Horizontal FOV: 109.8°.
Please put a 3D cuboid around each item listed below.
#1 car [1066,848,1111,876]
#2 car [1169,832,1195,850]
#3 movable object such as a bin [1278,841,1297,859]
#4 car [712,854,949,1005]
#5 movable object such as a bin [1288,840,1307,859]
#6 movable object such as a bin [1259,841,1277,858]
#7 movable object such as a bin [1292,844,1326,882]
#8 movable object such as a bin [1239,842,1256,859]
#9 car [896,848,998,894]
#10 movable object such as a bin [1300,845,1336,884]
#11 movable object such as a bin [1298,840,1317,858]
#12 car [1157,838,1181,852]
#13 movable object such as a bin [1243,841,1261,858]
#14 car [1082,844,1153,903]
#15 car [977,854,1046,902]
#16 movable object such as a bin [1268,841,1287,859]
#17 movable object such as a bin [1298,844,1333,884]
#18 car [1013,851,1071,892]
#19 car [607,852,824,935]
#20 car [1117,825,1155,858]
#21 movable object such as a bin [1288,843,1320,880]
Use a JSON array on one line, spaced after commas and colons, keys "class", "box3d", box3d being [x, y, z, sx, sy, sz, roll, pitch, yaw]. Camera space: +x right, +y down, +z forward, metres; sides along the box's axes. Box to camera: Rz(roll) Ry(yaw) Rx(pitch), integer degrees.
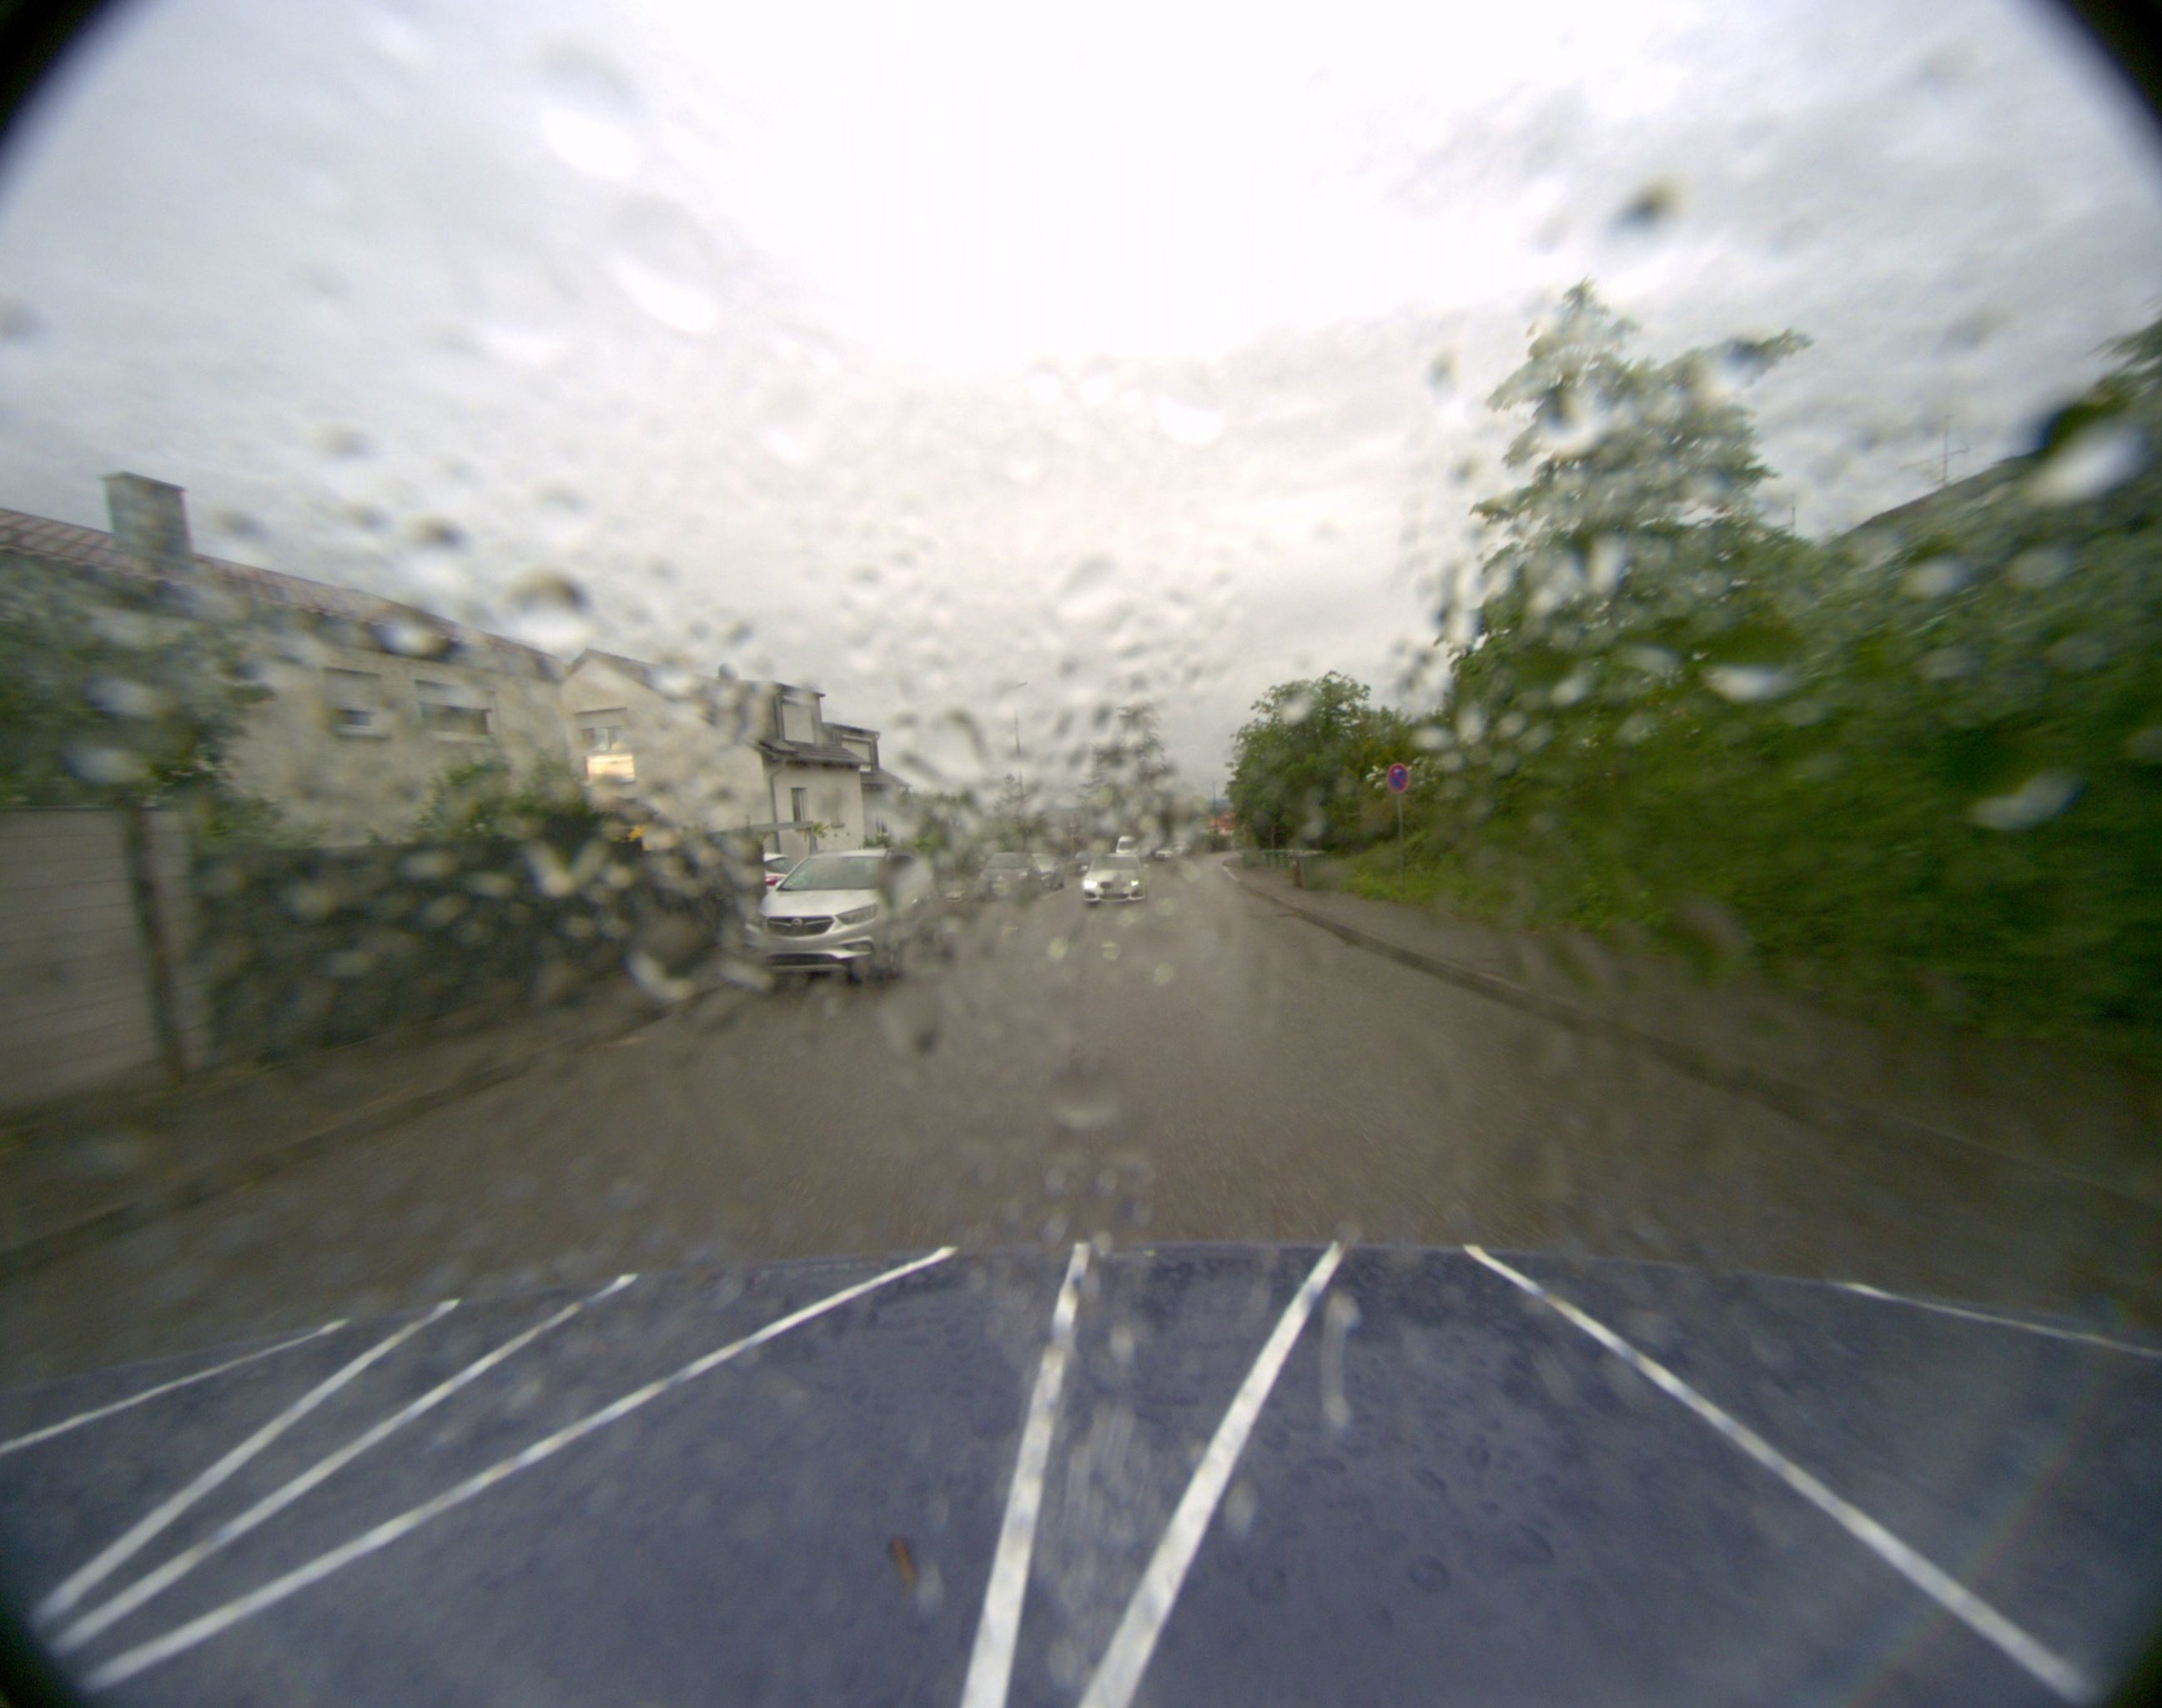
[{"class": "car", "box3d": [0.501, 0.418, 44.699, 1.861, 1.518, 5.067, 0, 1, 10]}, {"class": "car", "box3d": [11.370, -1.472, 85.037, 1.867, 1.808, 4.868, -1, 1, 20]}, {"class": "movable object such as a bin", "box3d": [12.522, -0.269, 46.132, 0.781, 1.022, 0.718, -6, 2, -37]}, {"class": "car", "box3d": [-3.166, 0.849, 10.637, 1.808, 1.617, 4.287, 0, 1, 1]}, {"class": "movable object such as a bin", "box3d": [12.964, -0.272, 45.531, 0.781, 1.022, 0.718, -6, 2, -37]}, {"class": "movable object such as a bin", "box3d": [11.640, -0.289, 47.319, 0.781, 1.022, 0.718, -6, 2, -37]}, {"class": "movable object such as a bin", "box3d": [6.781, 0.269, 22.646, 0.770, 1.090, 0.738, -2, 1, 1]}, {"class": "movable object such as a bin", "box3d": [10.823, -0.236, 49.324, 0.780, 1.022, 0.718, -5, 2, -14]}, {"class": "car", "box3d": [-6.137, 0.774, 35.039, 3.994, 1.433, 2.001, -9, 0, 12]}, {"class": "movable object such as a bin", "box3d": [6.597, 0.283, 21.201, 0.770, 1.062, 0.691, -2, 1, 1]}, {"class": "movable object such as a bin", "box3d": [13.388, -0.299, 44.937, 0.781, 1.022, 0.718, -6, 2, -37]}, {"class": "car", "box3d": [9.258, -0.987, 79.754, 1.751, 1.415, 4.004, -1, 1, 18]}, {"class": "movable object such as a bin", "box3d": [10.947, -0.290, 48.591, 0.780, 1.022, 0.718, -5, 2, -14]}, {"class": "car", "box3d": [0.955, 0.490, 21.863, 1.798, 1.455, 3.999, -2, 1, 0]}, {"class": "car", "box3d": [-2.245, 0.746, 25.456, 1.663, 1.459, 3.764, 0, 1, 5]}, {"class": "movable object such as a bin", "box3d": [12.089, -0.251, 46.723, 0.781, 1.022, 0.718, -6, 2, -37]}, {"class": "movable object such as a bin", "box3d": [6.754, 0.281, 21.892, 0.770, 1.090, 0.671, -2, 1, 1]}, {"class": "car", "box3d": [-1.505, 0.656, 30.678, 1.772, 1.459, 4.235, 0, 1, 5]}, {"class": "car", "box3d": [-8.298, 0.881, 17.464, 3.994, 1.581, 1.935, -3, 2, 8]}, {"class": "car", "box3d": [4.729, -1.083, 64.198, 2.075, 2.535, 6.186, -1, 1, 14]}, {"class": "movable object such as a bin", "box3d": [6.860, 0.232, 23.408, 0.770, 1.090, 0.738, -2, 1, 1]}]
